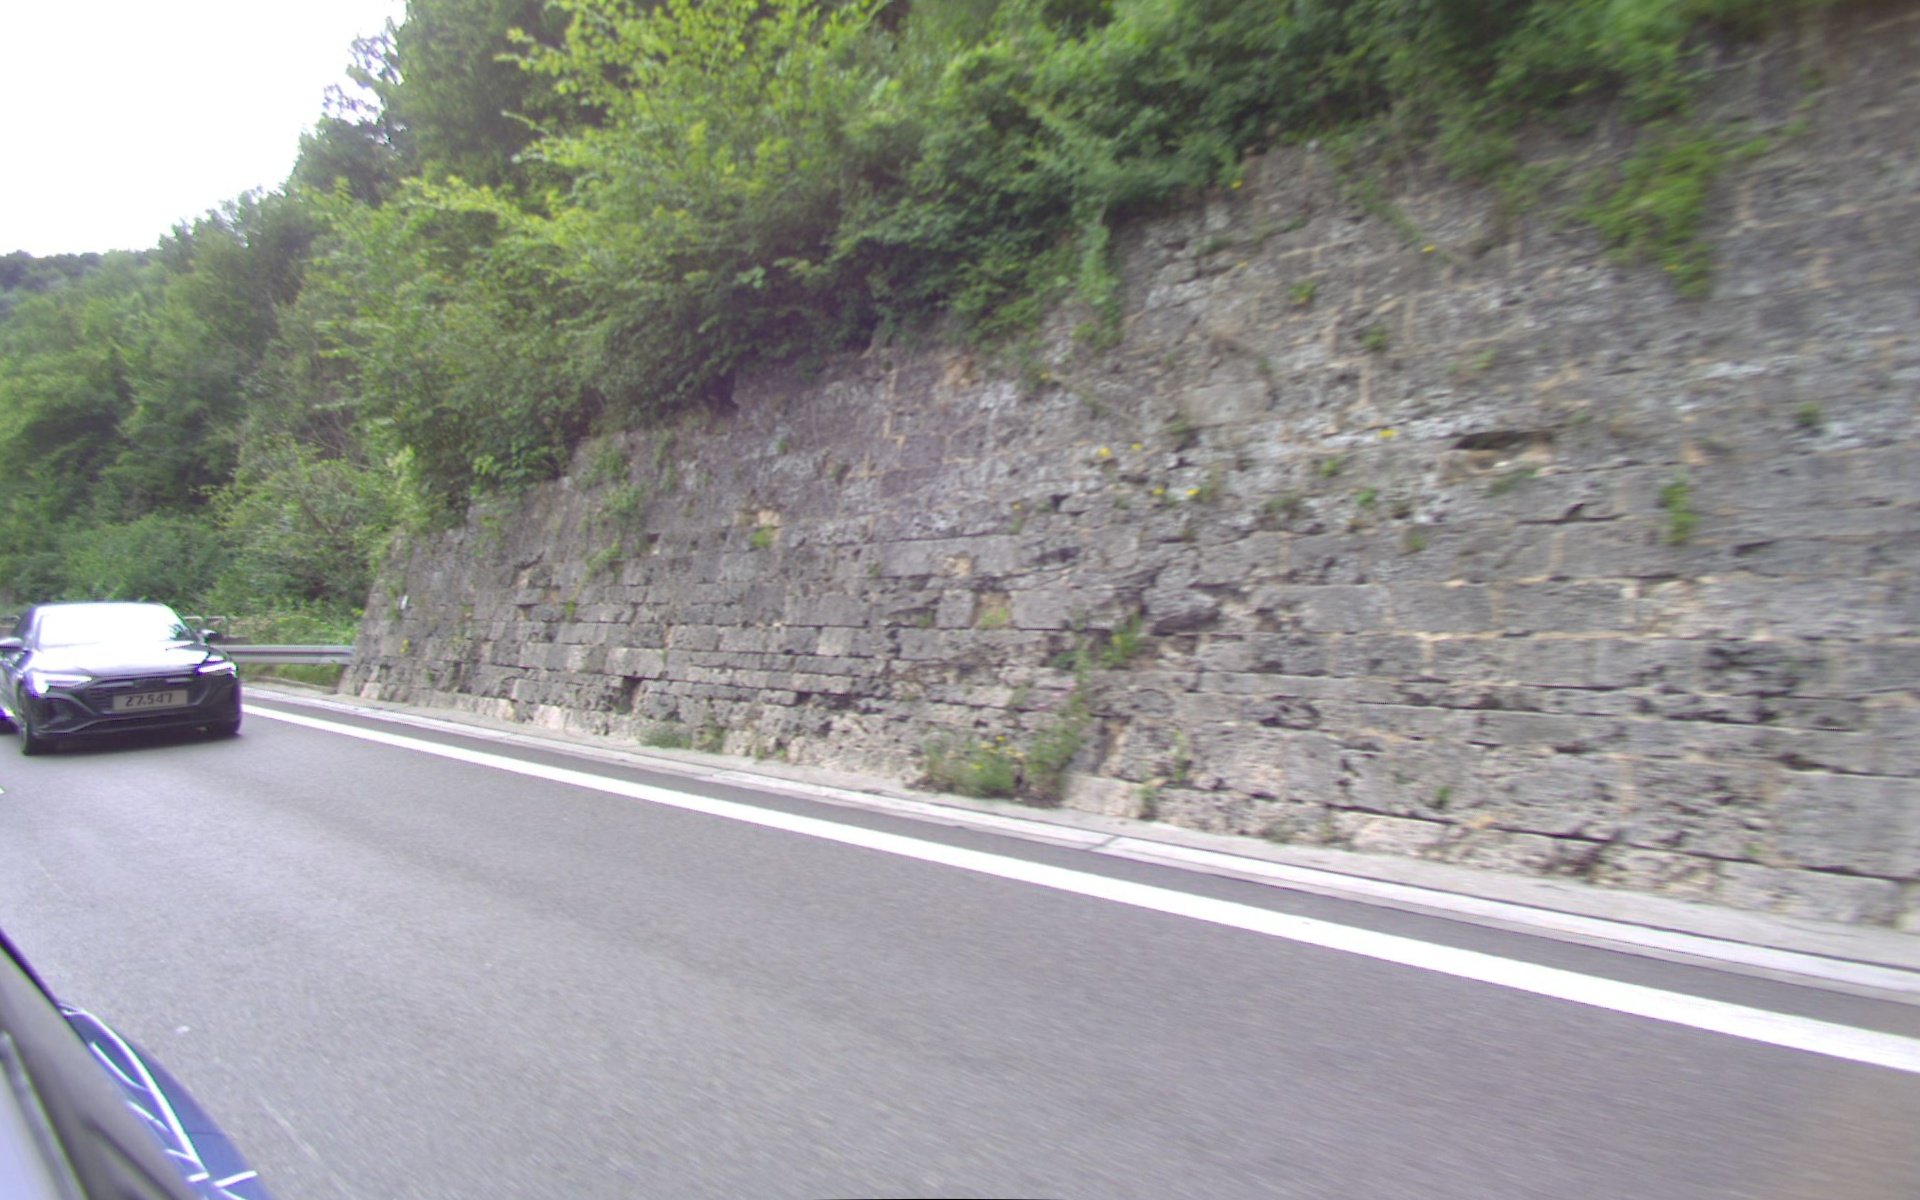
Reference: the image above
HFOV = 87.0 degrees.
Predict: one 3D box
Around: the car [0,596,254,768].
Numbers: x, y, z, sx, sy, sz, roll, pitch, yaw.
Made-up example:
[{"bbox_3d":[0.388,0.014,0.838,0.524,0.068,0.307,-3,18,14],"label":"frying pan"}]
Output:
[{"bbox_3d":[-10.555,0.847,12.376,5.006,1.644,1.973,-1,1,41],"label":"car"}]
